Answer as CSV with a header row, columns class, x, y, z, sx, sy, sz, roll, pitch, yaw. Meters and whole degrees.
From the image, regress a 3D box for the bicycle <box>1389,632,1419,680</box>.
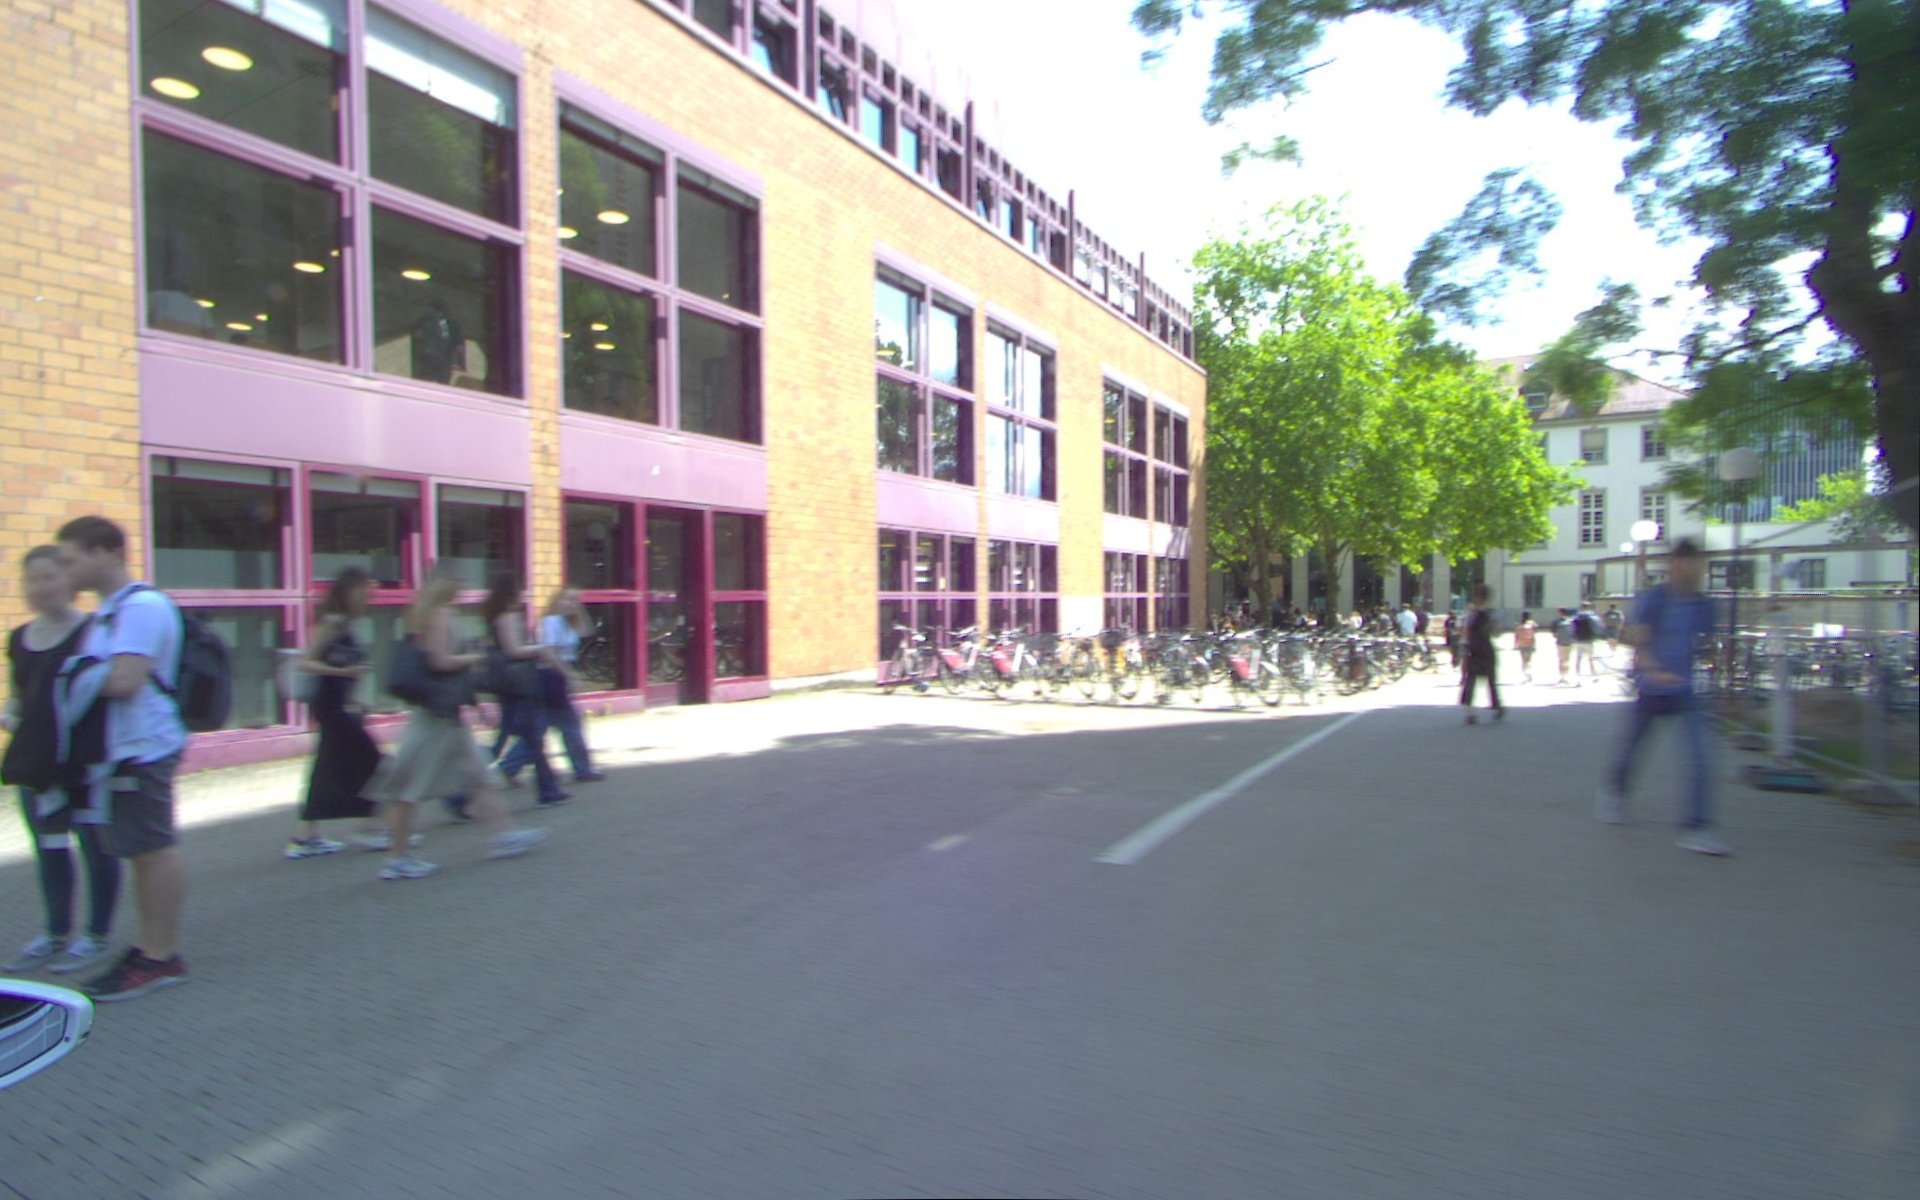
class,x,y,z,sx,sy,sz,roll,pitch,yaw
bicycle,11.530,1.444,25.990,0.537,1.184,1.995,0,-2,29

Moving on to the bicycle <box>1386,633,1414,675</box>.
class,x,y,z,sx,sy,sz,roll,pitch,yaw
bicycle,12.792,1.551,29.087,0.537,1.184,1.995,0,-2,29

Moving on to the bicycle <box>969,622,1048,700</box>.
class,x,y,z,sx,sy,sz,roll,pitch,yaw
bicycle,0.769,0.913,15.318,0.515,1.124,1.809,0,-2,27

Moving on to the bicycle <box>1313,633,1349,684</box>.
class,x,y,z,sx,sy,sz,roll,pitch,yaw
bicycle,9.068,1.405,24.435,0.537,1.184,1.995,0,-2,29

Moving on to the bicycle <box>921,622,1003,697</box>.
class,x,y,z,sx,sy,sz,roll,pitch,yaw
bicycle,0.061,0.936,16.098,0.516,1.124,1.808,0,-2,29

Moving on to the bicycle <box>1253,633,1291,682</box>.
class,x,y,z,sx,sy,sz,roll,pitch,yaw
bicycle,7.914,1.446,25.359,0.537,1.184,1.995,0,-2,29

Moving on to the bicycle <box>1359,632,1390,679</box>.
class,x,y,z,sx,sy,sz,roll,pitch,yaw
bicycle,10.877,1.447,26.231,0.537,1.184,1.995,0,-2,29

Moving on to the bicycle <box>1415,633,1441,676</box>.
class,x,y,z,sx,sy,sz,roll,pitch,yaw
bicycle,13.362,1.546,28.581,0.537,1.184,1.995,0,-2,29

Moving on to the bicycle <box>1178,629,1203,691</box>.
class,x,y,z,sx,sy,sz,roll,pitch,yaw
bicycle,4.622,1.185,20.051,0.465,1.184,1.811,0,-2,14

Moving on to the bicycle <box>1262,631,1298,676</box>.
class,x,y,z,sx,sy,sz,roll,pitch,yaw
bicycle,8.742,1.453,27.320,0.537,1.184,1.995,0,-2,29

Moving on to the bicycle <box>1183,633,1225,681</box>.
class,x,y,z,sx,sy,sz,roll,pitch,yaw
bicycle,6.377,1.471,26.100,0.537,1.184,1.995,0,-2,29

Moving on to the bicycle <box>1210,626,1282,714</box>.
class,x,y,z,sx,sy,sz,roll,pitch,yaw
bicycle,3.928,0.924,13.678,0.467,1.124,1.690,0,-2,33

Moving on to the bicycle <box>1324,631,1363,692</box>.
class,x,y,z,sx,sy,sz,roll,pitch,yaw
bicycle,7.896,1.248,20.577,0.467,1.184,1.995,0,-2,29

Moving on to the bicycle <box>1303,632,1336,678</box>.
class,x,y,z,sx,sy,sz,roll,pitch,yaw
bicycle,9.707,1.471,26.995,0.537,1.184,1.995,0,-2,29

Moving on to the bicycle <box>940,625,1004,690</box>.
class,x,y,z,sx,sy,sz,roll,pitch,yaw
bicycle,0.239,1.025,18.189,0.466,1.124,1.807,0,-2,24

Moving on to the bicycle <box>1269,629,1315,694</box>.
class,x,y,z,sx,sy,sz,roll,pitch,yaw
bicycle,6.382,1.170,19.177,0.467,1.184,1.804,0,-2,30

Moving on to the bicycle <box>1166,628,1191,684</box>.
class,x,y,z,sx,sy,sz,roll,pitch,yaw
bicycle,4.867,1.234,22.263,0.465,1.184,2.002,0,-2,14

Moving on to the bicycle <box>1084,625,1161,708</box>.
class,x,y,z,sx,sy,sz,roll,pitch,yaw
bicycle,2.376,0.932,14.506,0.516,1.124,1.808,0,-2,29

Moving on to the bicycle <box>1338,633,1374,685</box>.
class,x,y,z,sx,sy,sz,roll,pitch,yaw
bicycle,9.505,1.402,24.005,0.537,1.184,1.995,0,-2,29

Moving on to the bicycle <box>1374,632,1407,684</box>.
class,x,y,z,sx,sy,sz,roll,pitch,yaw
bicycle,10.348,1.376,24.024,0.537,1.184,1.995,0,-2,29

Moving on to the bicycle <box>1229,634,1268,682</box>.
class,x,y,z,sx,sy,sz,roll,pitch,yaw
bicycle,7.401,1.469,25.619,0.537,1.184,1.995,0,-2,29

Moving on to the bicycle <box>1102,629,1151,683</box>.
class,x,y,z,sx,sy,sz,roll,pitch,yaw
bicycle,3.799,1.264,22.779,0.467,1.184,1.995,0,-2,29

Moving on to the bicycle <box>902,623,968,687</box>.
class,x,y,z,sx,sy,sz,roll,pitch,yaw
bicycle,-0.436,0.998,18.459,0.466,1.124,1.807,0,-2,24

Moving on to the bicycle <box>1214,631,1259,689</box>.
class,x,y,z,sx,sy,sz,roll,pitch,yaw
bicycle,5.978,1.276,21.569,0.467,1.184,1.995,0,-2,29

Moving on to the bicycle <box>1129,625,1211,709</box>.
class,x,y,z,sx,sy,sz,roll,pitch,yaw
bicycle,3.041,0.934,14.353,0.516,1.124,1.805,-1,-2,34

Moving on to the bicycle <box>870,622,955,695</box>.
class,x,y,z,sx,sy,sz,roll,pitch,yaw
bicycle,-0.747,0.934,16.362,0.516,1.124,1.808,0,-2,29

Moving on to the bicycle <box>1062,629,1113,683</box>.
class,x,y,z,sx,sy,sz,roll,pitch,yaw
bicycle,2.987,1.291,23.287,0.467,1.184,1.995,0,-2,29

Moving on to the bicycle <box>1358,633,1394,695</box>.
class,x,y,z,sx,sy,sz,roll,pitch,yaw
bicycle,8.485,1.283,20.389,0.467,1.184,1.995,0,-2,29

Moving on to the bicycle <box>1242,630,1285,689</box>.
class,x,y,z,sx,sy,sz,roll,pitch,yaw
bicycle,6.508,1.260,21.449,0.467,1.184,1.995,0,-2,29

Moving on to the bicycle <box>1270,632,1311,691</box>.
class,x,y,z,sx,sy,sz,roll,pitch,yaw
bicycle,6.984,1.271,21.119,0.467,1.184,1.995,0,-2,29

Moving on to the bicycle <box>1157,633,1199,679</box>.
class,x,y,z,sx,sy,sz,roll,pitch,yaw
bicycle,5.819,1.475,26.641,0.537,1.184,1.995,0,-2,29

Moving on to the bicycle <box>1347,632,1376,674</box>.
class,x,y,z,sx,sy,sz,roll,pitch,yaw
bicycle,11.807,1.552,29.401,0.537,1.184,1.995,0,-2,29

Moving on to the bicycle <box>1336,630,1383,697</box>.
class,x,y,z,sx,sy,sz,roll,pitch,yaw
bicycle,7.461,1.162,18.657,0.467,1.184,1.802,0,-2,33

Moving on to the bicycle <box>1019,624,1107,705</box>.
class,x,y,z,sx,sy,sz,roll,pitch,yaw
bicycle,1.552,0.930,14.766,0.516,1.124,1.806,0,-2,33

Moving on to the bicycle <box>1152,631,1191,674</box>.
class,x,y,z,sx,sy,sz,roll,pitch,yaw
bicycle,6.095,1.490,28.786,0.537,1.184,1.995,0,-2,29

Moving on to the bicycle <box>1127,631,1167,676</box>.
class,x,y,z,sx,sy,sz,roll,pitch,yaw
bicycle,5.073,1.436,27.072,0.537,1.184,1.996,0,-2,27

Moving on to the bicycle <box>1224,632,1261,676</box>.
class,x,y,z,sx,sy,sz,roll,pitch,yaw
bicycle,7.861,1.493,27.850,0.537,1.184,1.995,0,-2,29

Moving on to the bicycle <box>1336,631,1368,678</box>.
class,x,y,z,sx,sy,sz,roll,pitch,yaw
bicycle,10.401,1.441,26.542,0.537,1.184,1.995,0,-2,29

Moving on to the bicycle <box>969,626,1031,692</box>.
class,x,y,z,sx,sy,sz,roll,pitch,yaw
bicycle,0.745,1.034,17.954,0.466,1.124,1.807,0,-2,24

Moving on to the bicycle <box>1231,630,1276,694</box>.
class,x,y,z,sx,sy,sz,roll,pitch,yaw
bicycle,5.729,1.191,19.493,0.467,1.184,1.805,0,-2,28

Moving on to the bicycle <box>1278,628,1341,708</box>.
class,x,y,z,sx,sy,sz,roll,pitch,yaw
bicycle,5.257,0.996,15.021,0.467,1.124,1.802,0,-2,33

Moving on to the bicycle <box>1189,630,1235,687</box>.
class,x,y,z,sx,sy,sz,roll,pitch,yaw
bicycle,5.537,1.262,21.933,0.467,1.184,1.995,0,-2,29

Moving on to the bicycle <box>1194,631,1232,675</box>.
class,x,y,z,sx,sy,sz,roll,pitch,yaw
bicycle,7.197,1.493,28.415,0.537,1.184,1.995,0,-2,29
